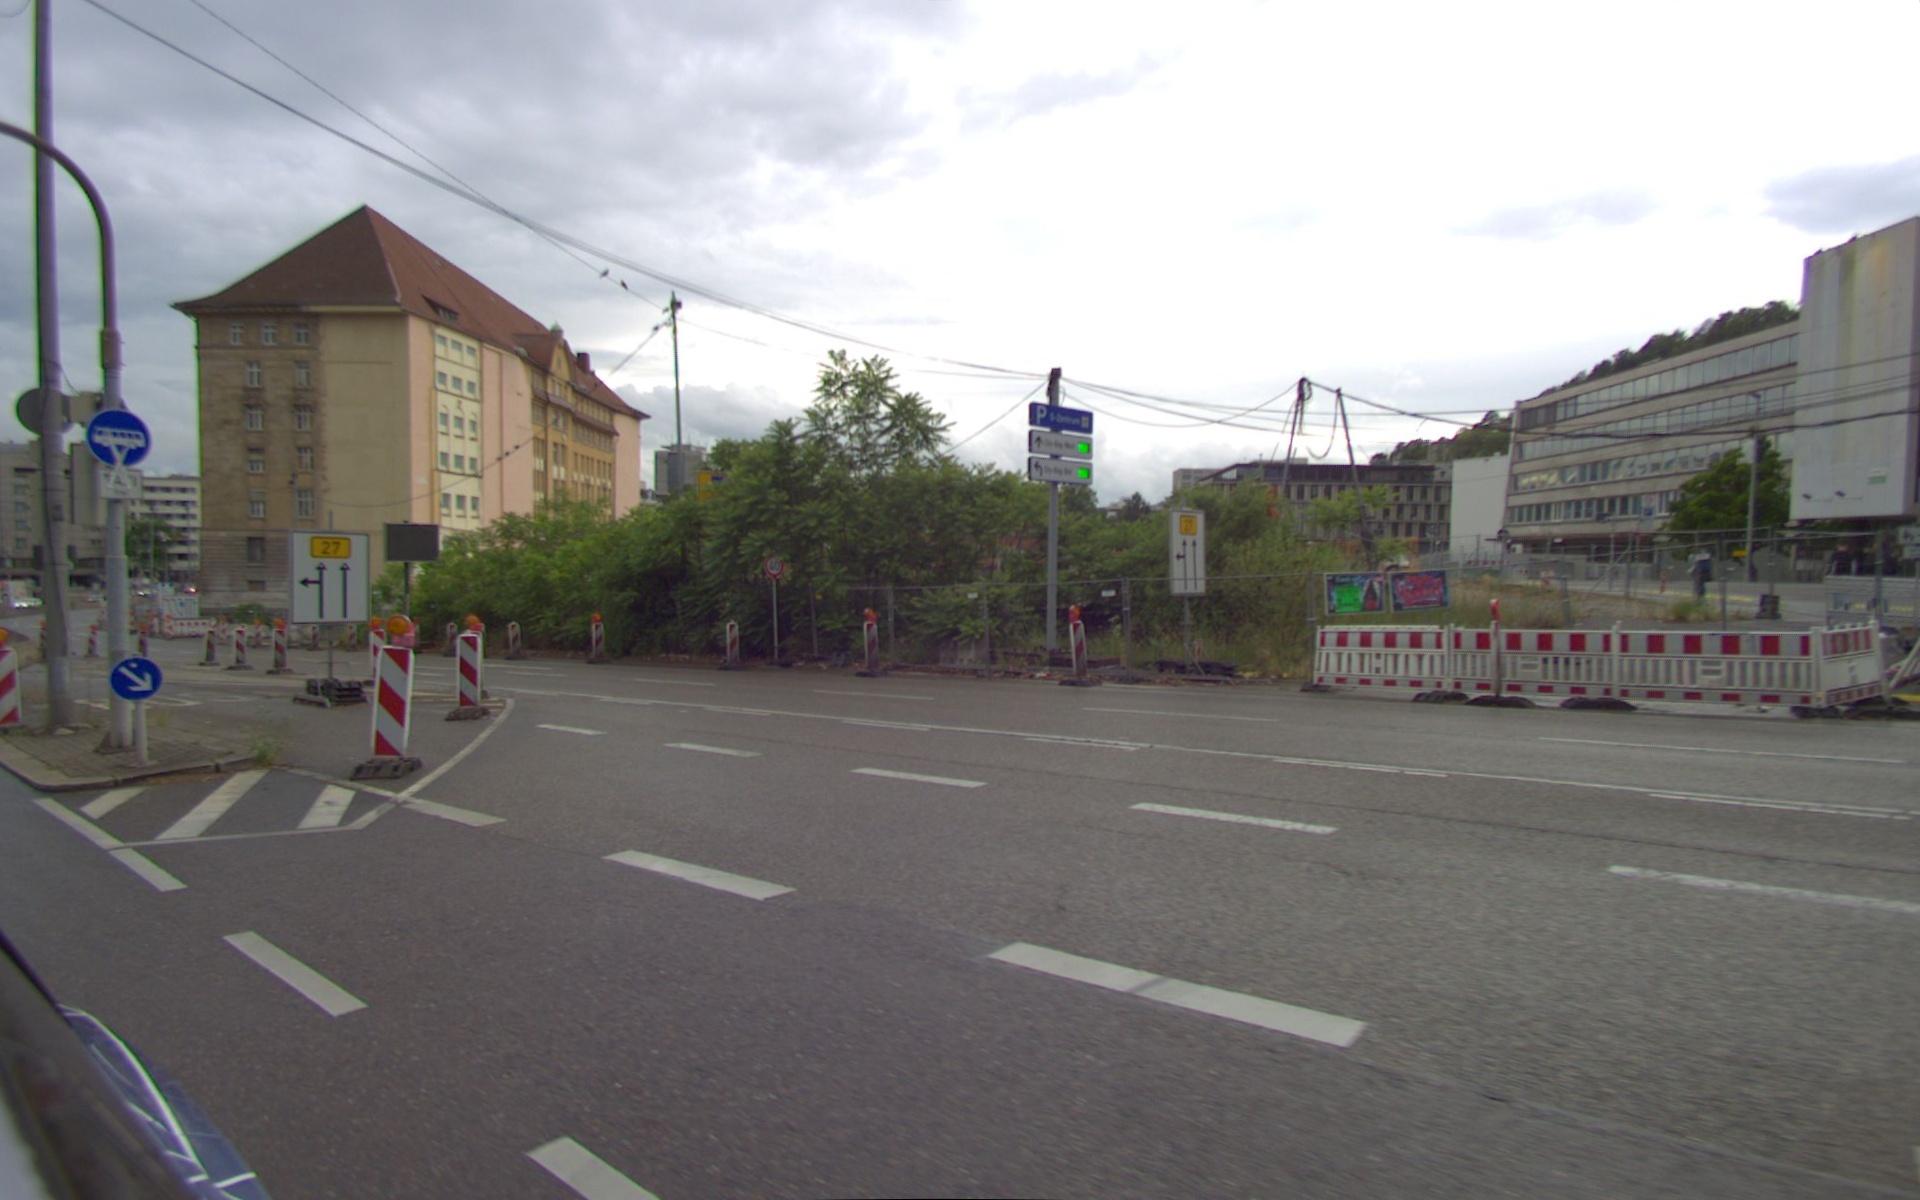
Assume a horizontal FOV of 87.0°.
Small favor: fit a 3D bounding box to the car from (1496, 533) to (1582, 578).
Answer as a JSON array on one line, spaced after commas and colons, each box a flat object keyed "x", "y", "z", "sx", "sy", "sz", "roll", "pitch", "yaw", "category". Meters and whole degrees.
[{"x": 26.500, "y": -2.031, "z": 46.461, "sx": 1.790, "sy": 1.980, "sz": 3.996, "roll": 1, "pitch": 2, "yaw": 3, "category": "car"}]

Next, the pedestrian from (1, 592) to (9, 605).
[{"x": -132.476, "y": -0.196, "z": 140.387, "sx": 0.638, "sy": 1.682, "sz": 0.767, "roll": 1, "pitch": 1, "yaw": -38, "category": "pedestrian"}]

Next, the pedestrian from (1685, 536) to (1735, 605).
[{"x": 20.774, "y": -0.807, "z": 28.045, "sx": 0.758, "sy": 1.867, "sz": 0.784, "roll": -2, "pitch": 0, "yaw": 4, "category": "pedestrian"}]

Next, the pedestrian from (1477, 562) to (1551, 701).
[{"x": 7.997, "y": 0.424, "z": 14.601, "sx": 0.742, "sy": 1.937, "sz": 0.752, "roll": 2, "pitch": 2, "yaw": 43, "category": "pedestrian"}]

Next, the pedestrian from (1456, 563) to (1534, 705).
[{"x": 7.456, "y": 0.446, "z": 14.109, "sx": 0.776, "sy": 1.915, "sz": 0.665, "roll": 2, "pitch": 2, "yaw": 43, "category": "pedestrian"}]

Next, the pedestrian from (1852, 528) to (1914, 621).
[{"x": 21.749, "y": -0.609, "z": 23.861, "sx": 0.737, "sy": 2.156, "sz": 0.742, "roll": -1, "pitch": 1, "yaw": 4, "category": "pedestrian"}]

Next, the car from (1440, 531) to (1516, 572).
[{"x": 26.629, "y": -2.470, "z": 52.197, "sx": 1.974, "sy": 2.028, "sz": 3.996, "roll": 1, "pitch": 2, "yaw": 3, "category": "car"}]

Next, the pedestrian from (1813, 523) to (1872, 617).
[{"x": 20.957, "y": -0.721, "z": 24.044, "sx": 0.737, "sy": 2.187, "sz": 0.701, "roll": 1, "pitch": 2, "yaw": 4, "category": "pedestrian"}]

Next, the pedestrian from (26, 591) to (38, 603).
[{"x": -140.572, "y": -0.495, "z": 153.292, "sx": 1.081, "sy": 1.774, "sz": 0.909, "roll": 1, "pitch": 1, "yaw": -22, "category": "pedestrian"}]
